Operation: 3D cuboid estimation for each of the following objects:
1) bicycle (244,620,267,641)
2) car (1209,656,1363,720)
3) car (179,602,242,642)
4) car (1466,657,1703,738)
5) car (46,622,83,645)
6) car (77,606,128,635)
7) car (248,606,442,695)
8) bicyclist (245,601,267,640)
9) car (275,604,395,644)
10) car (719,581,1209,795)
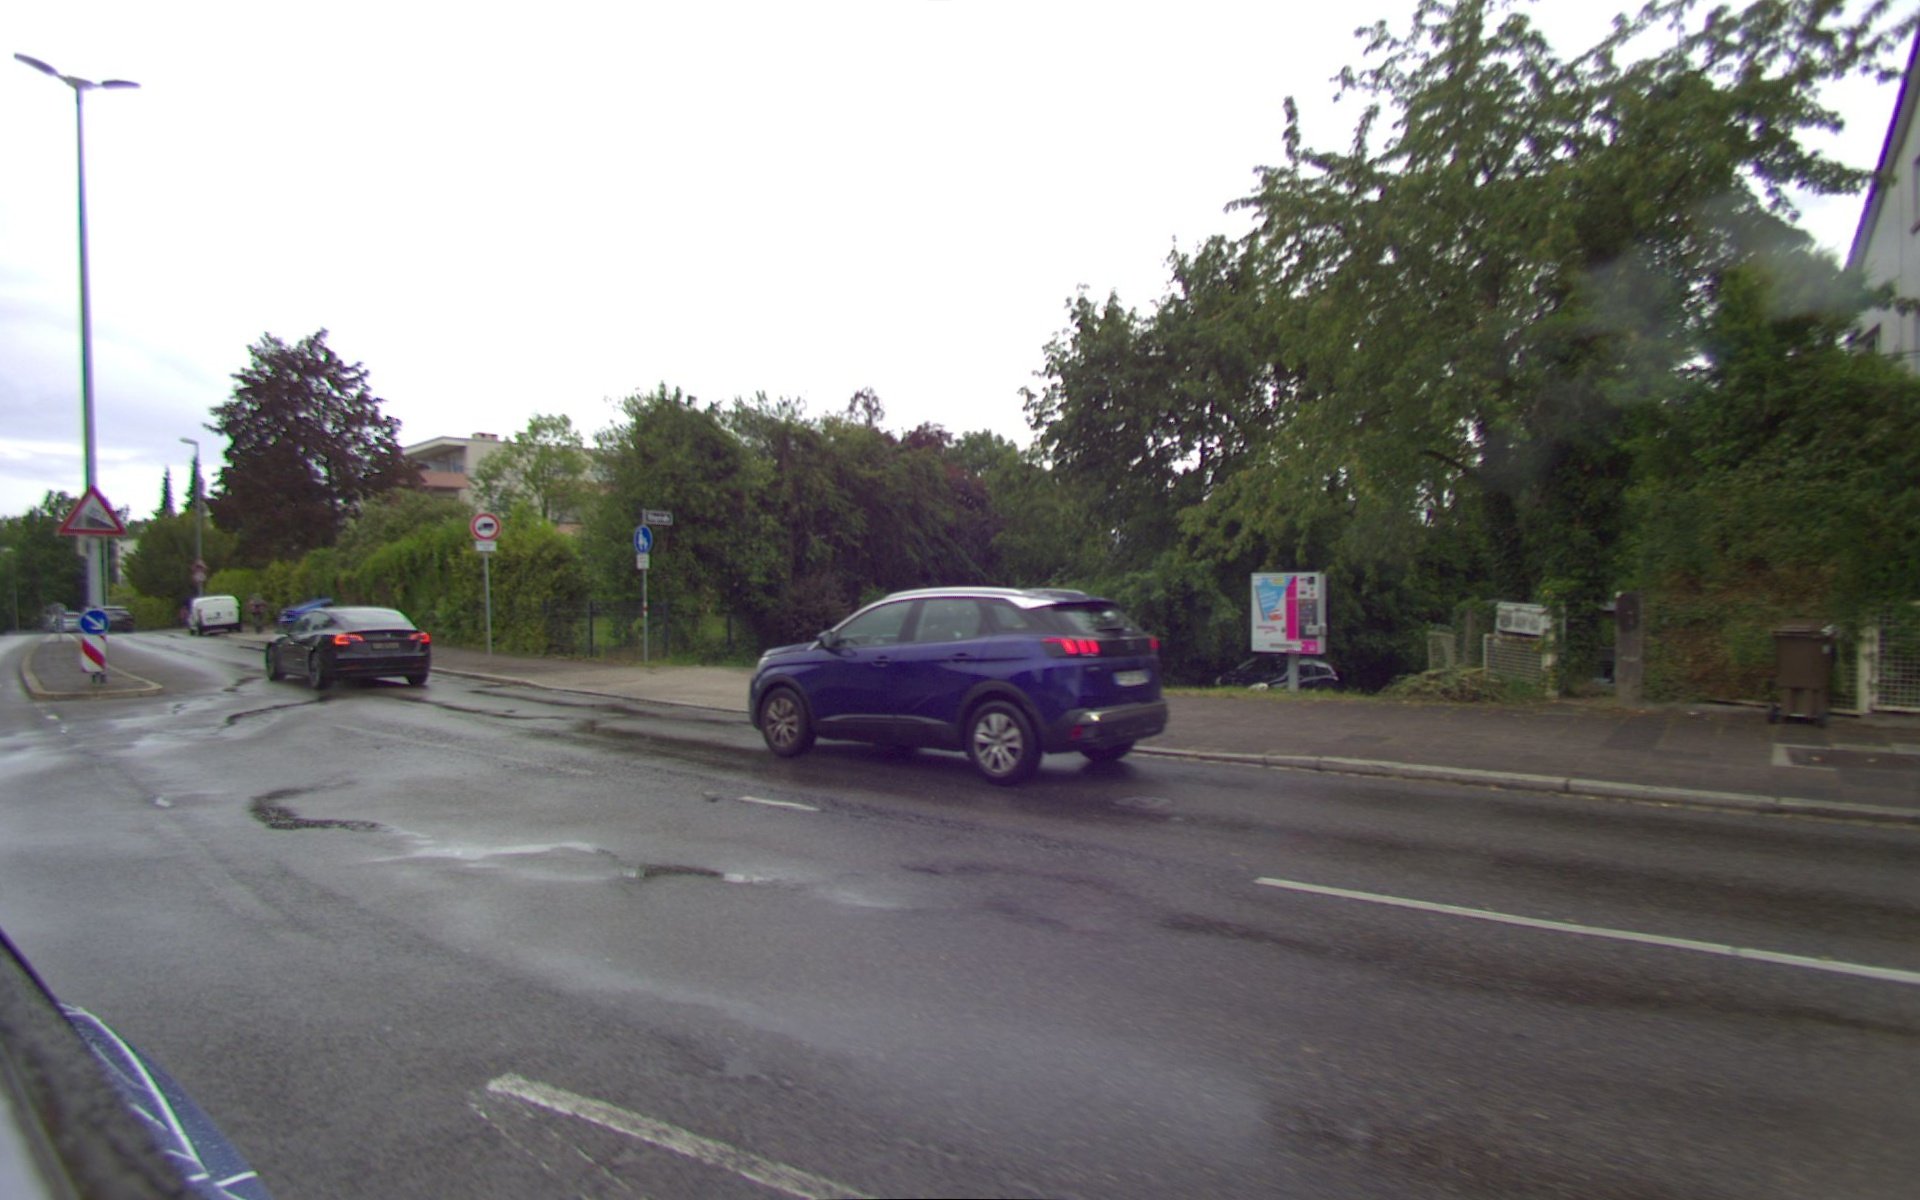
[{"bbox_3d":[-30.828,1.332,44.284,0.732,0.857,1.976,-1,1,-37],"label":"bicycle"},{"bbox_3d":[8.293,2.169,25.633,3.935,1.367,1.847,2,-1,-38],"label":"car"},{"bbox_3d":[-34.919,0.999,47.121,1.795,1.730,4.003,0,1,-45],"label":"car"},{"bbox_3d":[12.886,1.976,21.197,3.976,1.367,1.828,1,-1,24],"label":"car"},{"bbox_3d":[-64.208,2.383,72.519,1.795,1.467,4.003,0,1,-45],"label":"car"},{"bbox_3d":[-46.141,1.063,54.409,1.795,1.467,4.003,0,1,-45],"label":"car"},{"bbox_3d":[-11.680,0.872,19.105,4.444,1.487,1.845,0,-1,41],"label":"car"},{"bbox_3d":[-30.760,0.880,44.197,0.732,1.659,0.779,-1,0,-37],"label":"bicyclist"},{"bbox_3d":[-25.410,0.937,41.211,1.769,1.467,3.836,0,1,43],"label":"car"},{"bbox_3d":[-0.117,0.665,9.525,4.441,1.565,1.846,0,-1,39],"label":"car"}]
